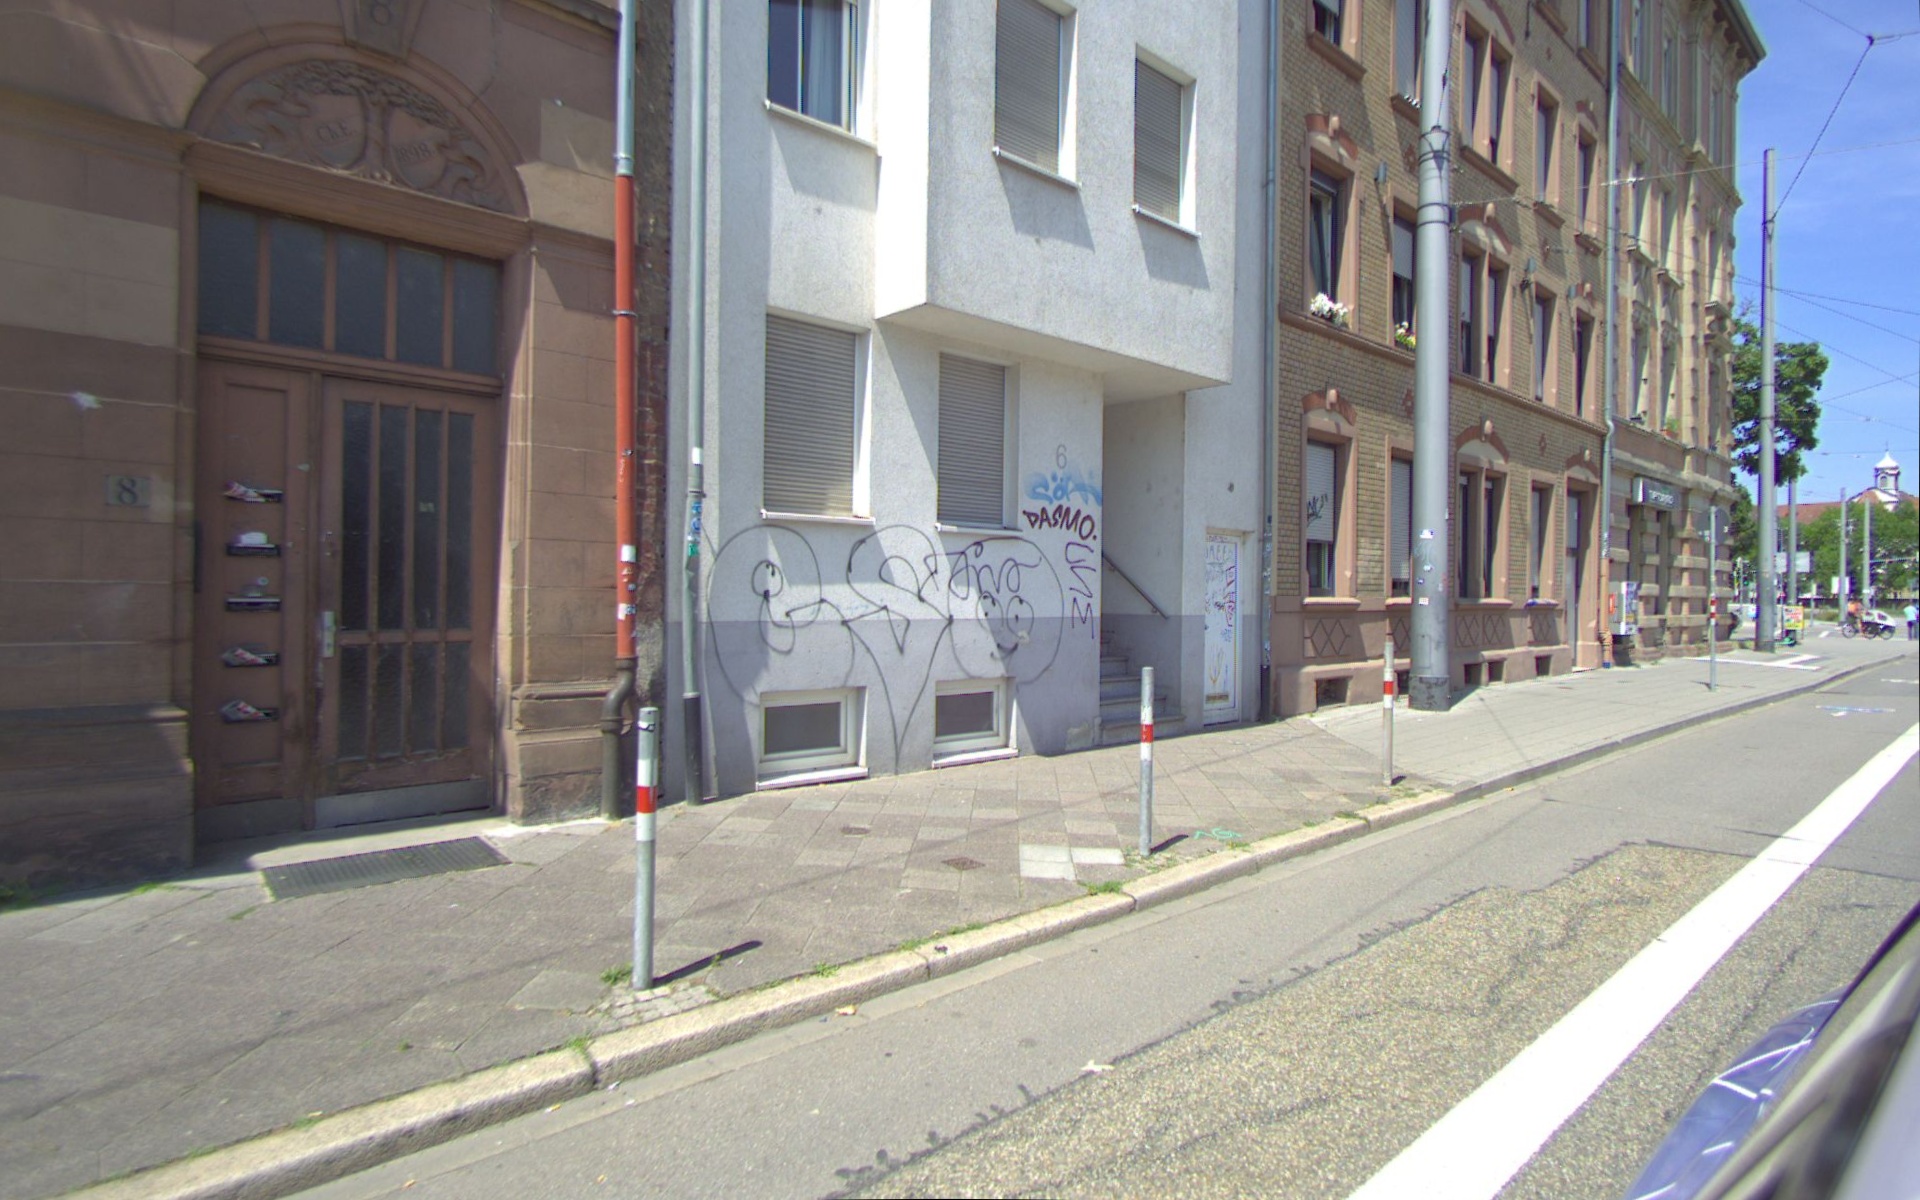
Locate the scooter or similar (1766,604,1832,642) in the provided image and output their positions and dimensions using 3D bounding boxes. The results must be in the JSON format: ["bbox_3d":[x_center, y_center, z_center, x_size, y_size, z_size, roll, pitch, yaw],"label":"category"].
[{"bbox_3d":[27.565,0.746,33.271,1.506,1.170,0.710,1,0,21],"label":"scooter or similar"}]

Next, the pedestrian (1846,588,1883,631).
[{"bbox_3d":[38.388,0.389,42.954,0.810,1.797,0.813,0,0,5],"label":"pedestrian"}]

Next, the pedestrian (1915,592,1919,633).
[{"bbox_3d":[43.365,0.563,45.093,0.856,1.802,0.811,0,0,-9],"label":"pedestrian"}]

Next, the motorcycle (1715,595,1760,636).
[{"bbox_3d":[26.937,0.513,35.044,2.550,1.379,0.765,0,1,-41],"label":"motorcycle"}]

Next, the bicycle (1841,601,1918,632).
[{"bbox_3d":[39.001,0.688,42.948,2.182,1.266,1.098,1,0,5],"label":"bicycle"}]
